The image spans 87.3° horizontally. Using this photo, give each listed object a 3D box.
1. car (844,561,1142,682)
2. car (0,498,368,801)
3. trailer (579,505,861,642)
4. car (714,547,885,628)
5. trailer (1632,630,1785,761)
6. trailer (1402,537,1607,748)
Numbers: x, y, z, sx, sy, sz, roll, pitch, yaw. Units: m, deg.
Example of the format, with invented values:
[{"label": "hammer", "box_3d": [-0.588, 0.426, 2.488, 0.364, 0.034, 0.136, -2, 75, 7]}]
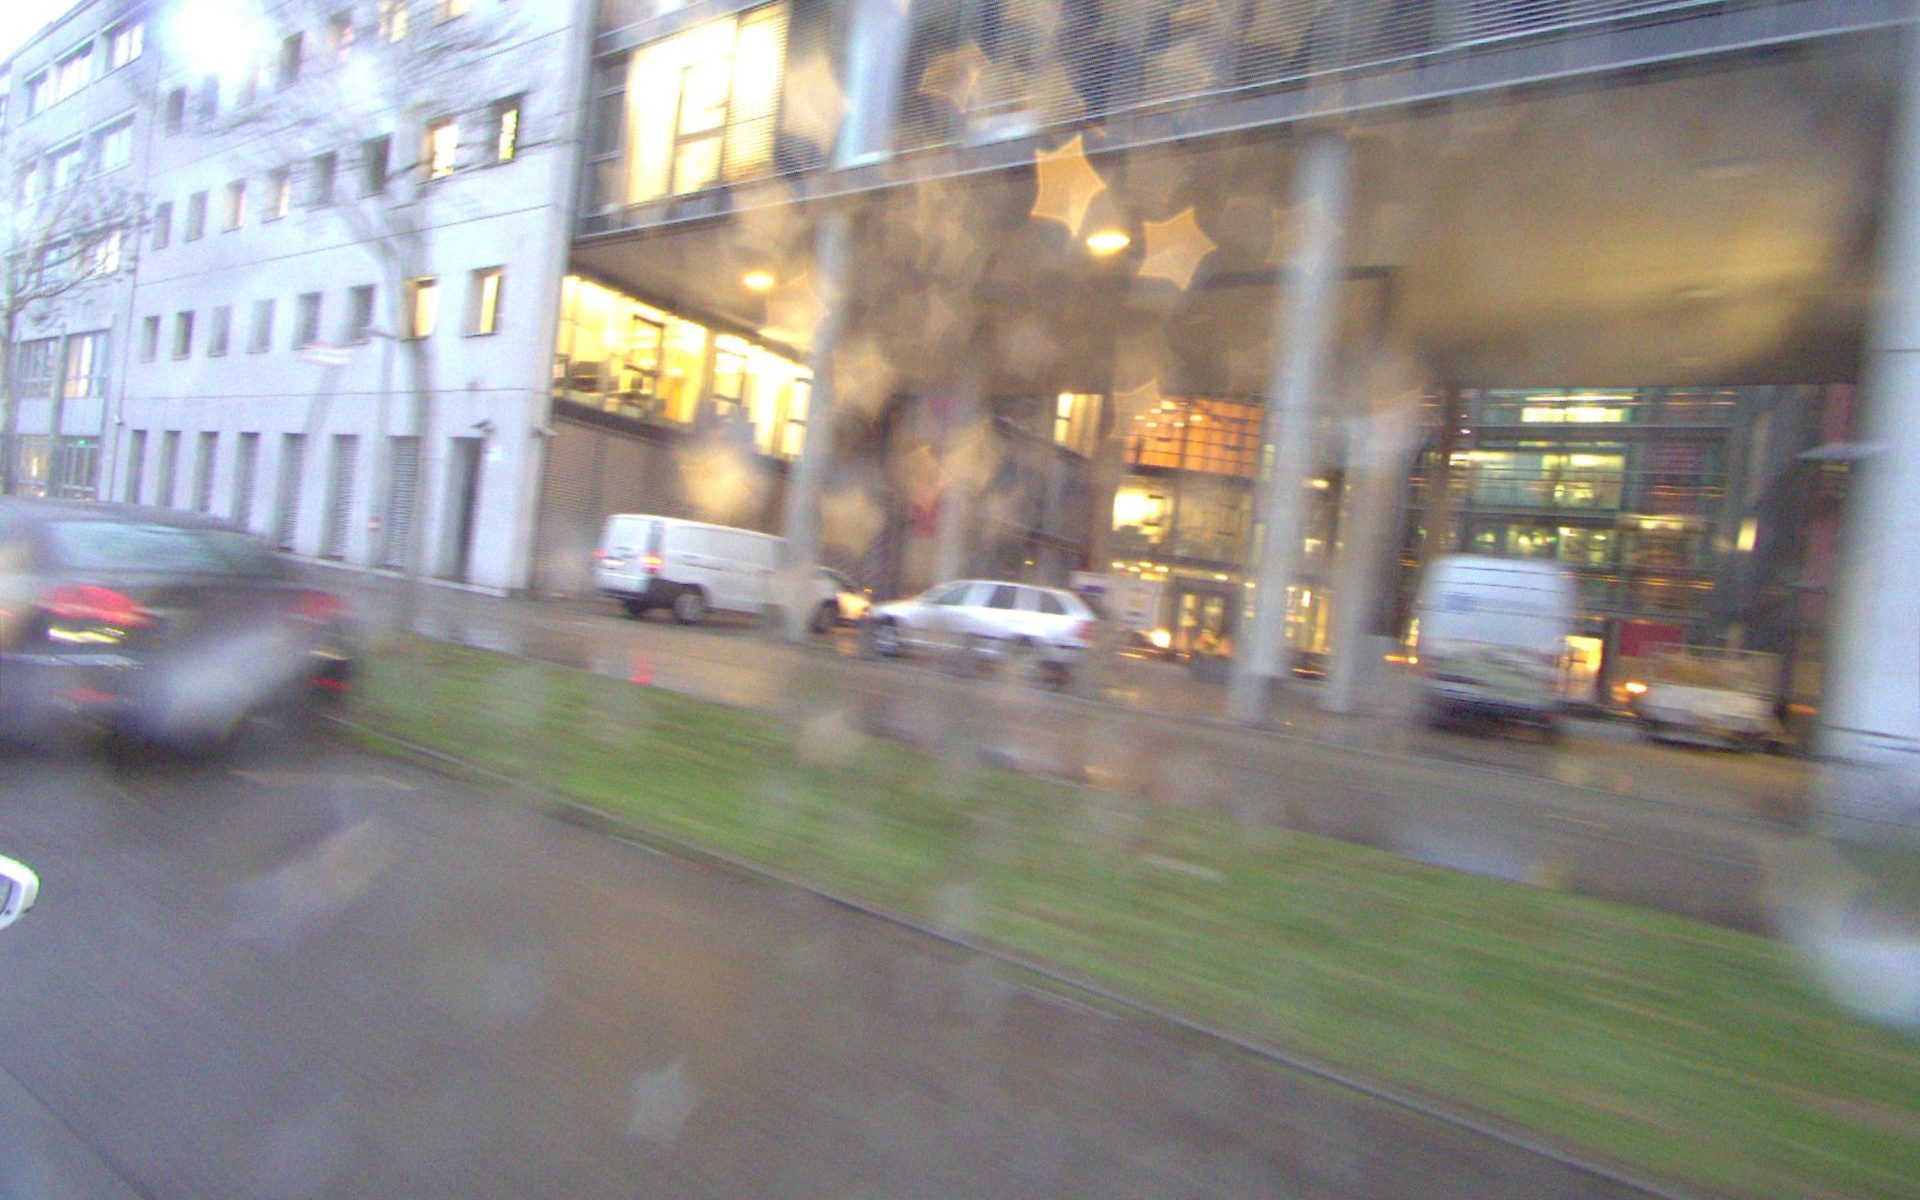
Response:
[{"label": "car", "box_3d": [0.462, 0.319, 16.203, 4.455, 1.386, 1.635, 6, -2, 31]}, {"label": "car", "box_3d": [-5.880, 0.156, 6.652, 4.160, 1.457, 1.598, 6, -2, 33]}, {"label": "trailer", "box_3d": [-4.600, -0.437, 20.050, 2.098, 1.934, 5.066, 9, 0, 39]}, {"label": "car", "box_3d": [-3.912, -0.273, 25.038, 1.633, 1.537, 3.982, 8, 1, 40]}, {"label": "trailer", "box_3d": [13.828, 1.751, 18.813, 1.861, 1.974, 3.990, 7, 0, 34]}, {"label": "trailer", "box_3d": [8.879, 0.739, 16.453, 2.172, 2.613, 6.268, 7, 0, 29]}]
